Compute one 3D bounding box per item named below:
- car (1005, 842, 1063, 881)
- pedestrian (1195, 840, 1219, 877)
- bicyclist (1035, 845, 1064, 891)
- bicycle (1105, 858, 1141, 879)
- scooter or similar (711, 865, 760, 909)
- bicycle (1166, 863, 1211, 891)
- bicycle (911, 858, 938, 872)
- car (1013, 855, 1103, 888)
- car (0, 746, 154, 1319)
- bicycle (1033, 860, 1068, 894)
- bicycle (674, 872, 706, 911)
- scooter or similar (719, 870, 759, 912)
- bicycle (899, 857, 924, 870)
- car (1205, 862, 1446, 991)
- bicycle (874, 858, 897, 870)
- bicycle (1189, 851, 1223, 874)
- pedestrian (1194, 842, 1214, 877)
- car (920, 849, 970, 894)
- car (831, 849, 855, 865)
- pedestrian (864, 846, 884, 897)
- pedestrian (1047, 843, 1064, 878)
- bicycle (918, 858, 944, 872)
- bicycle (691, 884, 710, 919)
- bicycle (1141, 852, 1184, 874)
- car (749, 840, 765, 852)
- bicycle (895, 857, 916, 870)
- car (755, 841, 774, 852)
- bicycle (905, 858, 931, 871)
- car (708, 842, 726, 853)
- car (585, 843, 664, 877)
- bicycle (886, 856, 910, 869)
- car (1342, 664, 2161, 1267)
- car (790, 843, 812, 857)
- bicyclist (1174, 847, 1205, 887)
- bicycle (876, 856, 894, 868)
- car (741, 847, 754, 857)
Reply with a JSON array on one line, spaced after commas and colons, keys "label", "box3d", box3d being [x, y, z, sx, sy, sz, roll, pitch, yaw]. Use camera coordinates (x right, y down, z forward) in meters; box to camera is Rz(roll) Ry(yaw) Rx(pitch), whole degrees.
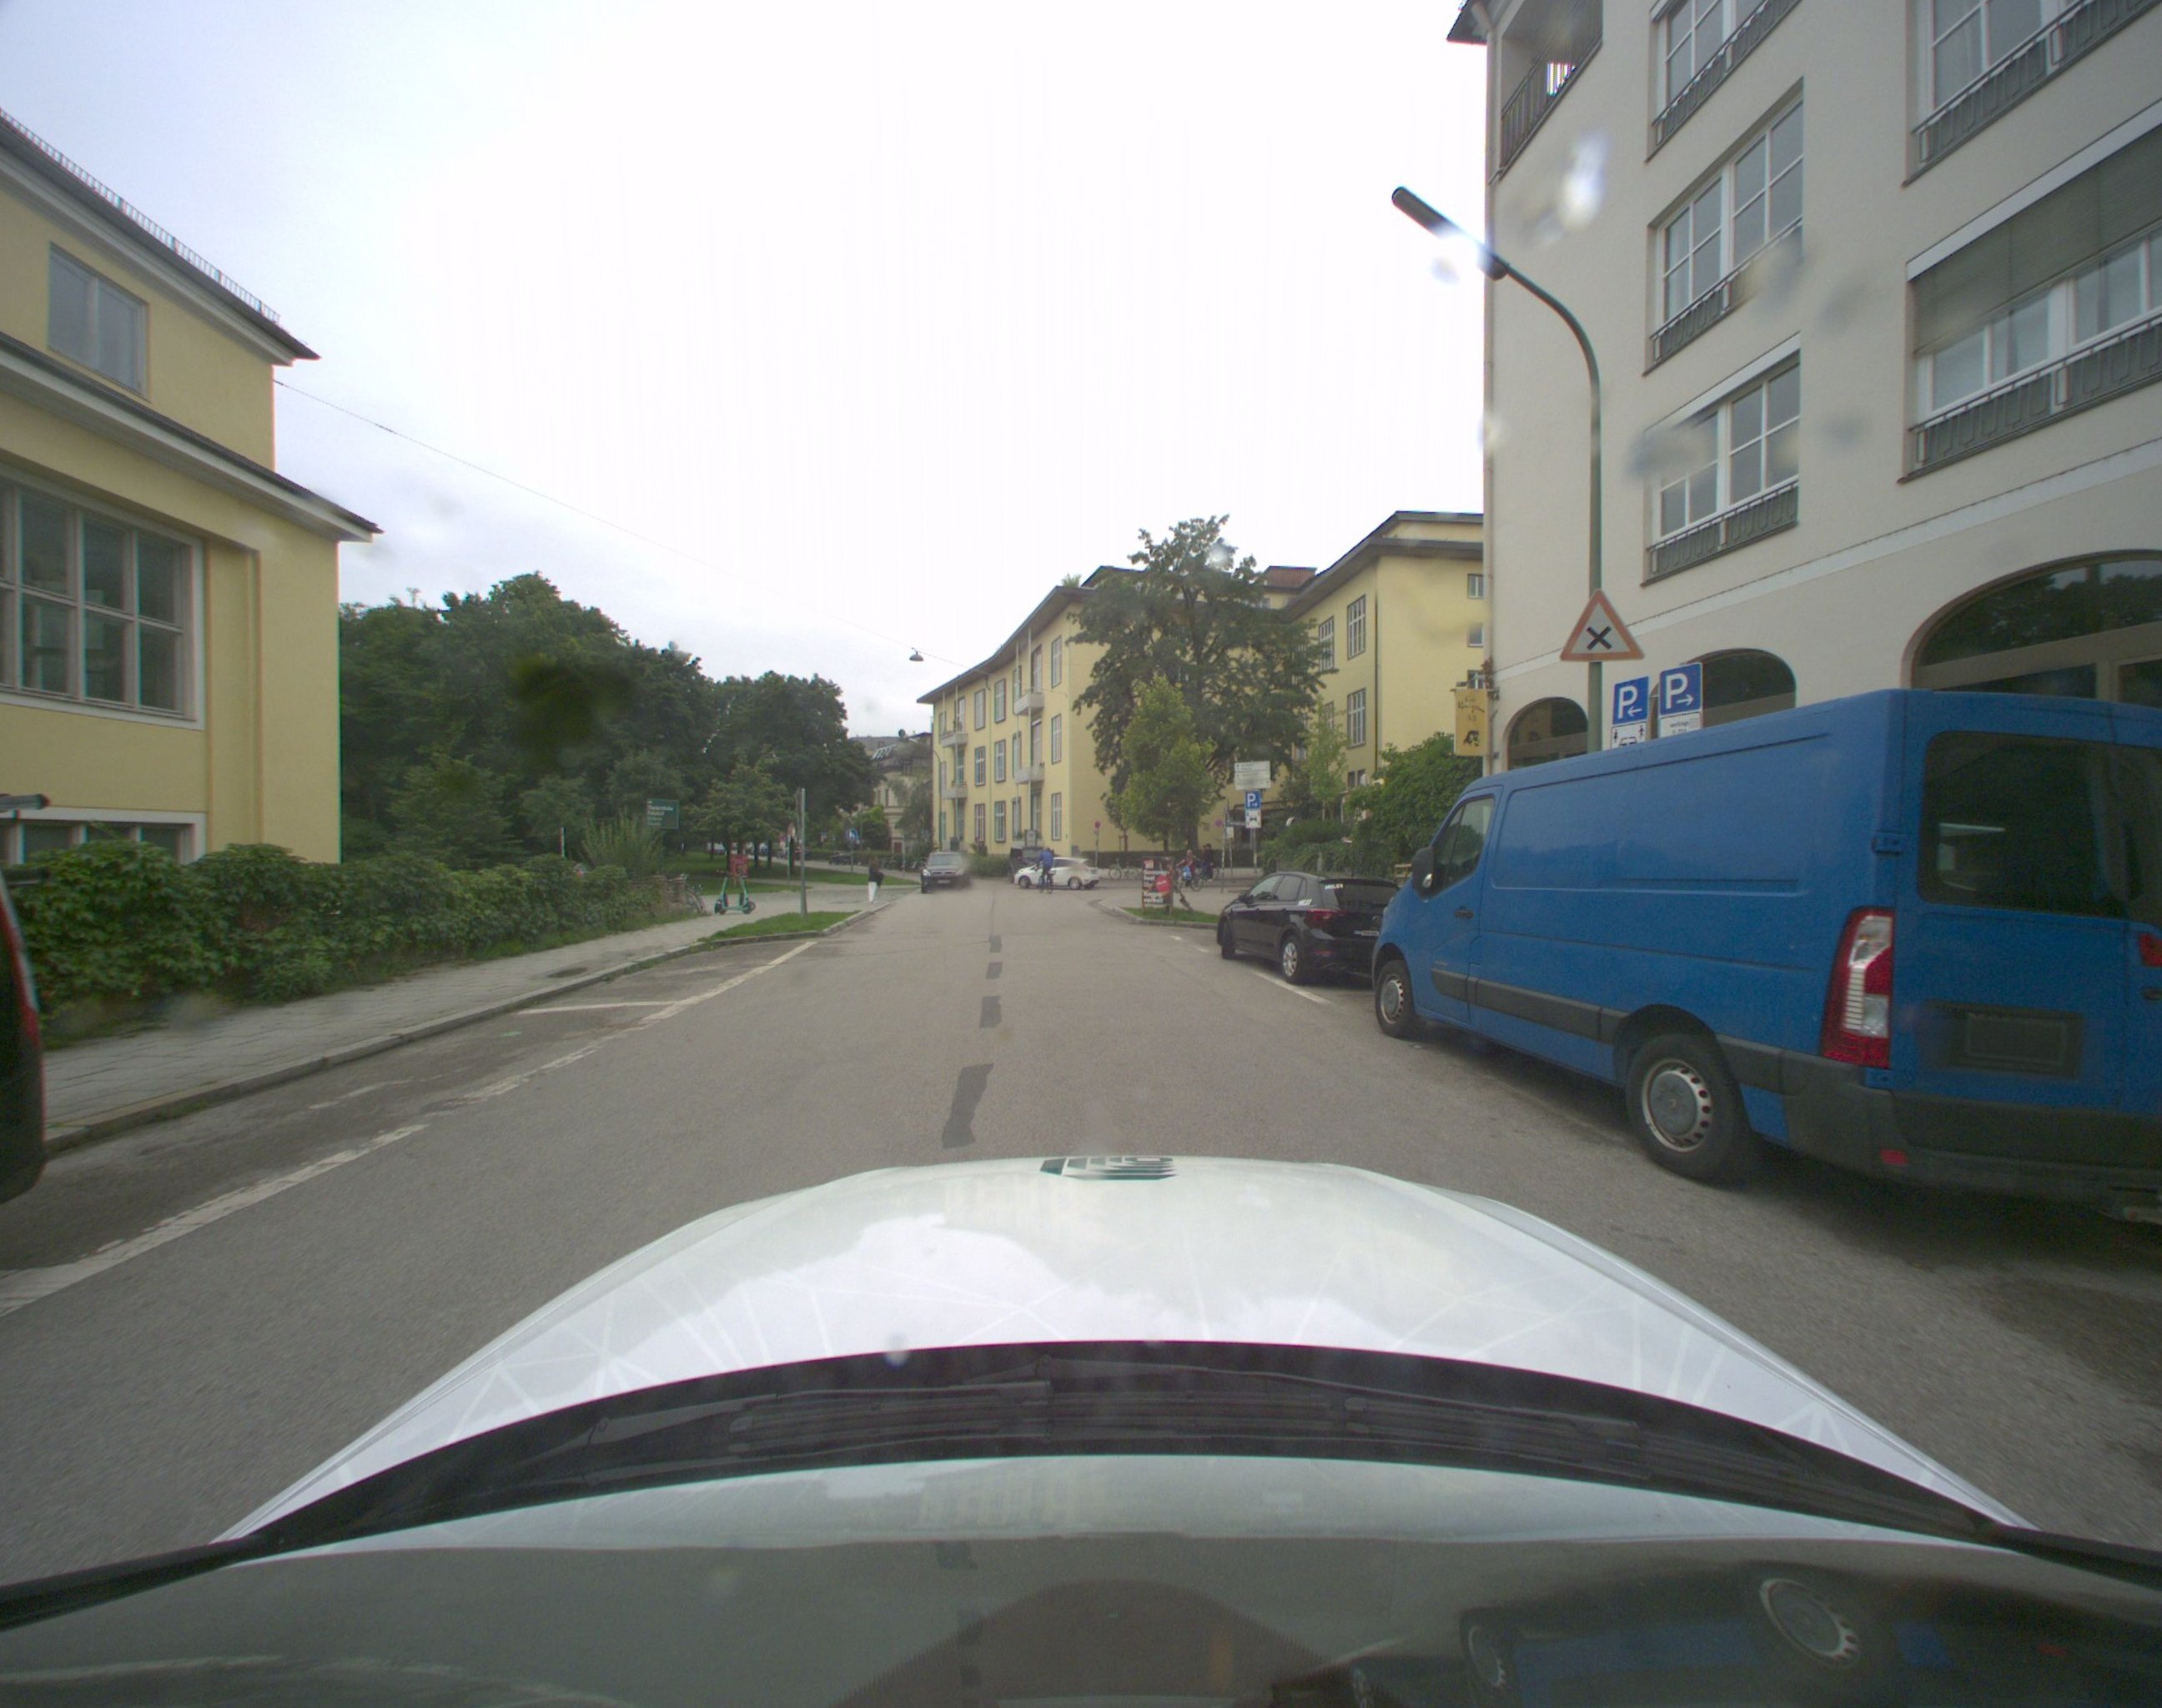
[{"label": "car", "box3d": [-2.523, 0.347, 42.546, 1.879, 1.887, 4.589, -1, 1, -19]}, {"label": "pedestrian", "box3d": [6.185, 0.214, 39.958, 0.988, 1.809, 0.658, -1, 1, -7]}, {"label": "bicyclist", "box3d": [-1.249, 0.525, 32.470, 0.915, 1.764, 1.209, -1, 1, -15]}, {"label": "bicycle", "box3d": [2.230, 0.776, 43.207, 1.925, 1.084, 0.532, -2, -1, 37]}, {"label": "scooter or similar", "box3d": [-9.842, 0.931, 23.196, 1.254, 1.244, 0.395, -1, -1, 5]}, {"label": "bicycle", "box3d": [4.513, 0.946, 34.094, 0.868, 1.019, 2.205, 0, 1, 37]}, {"label": "bicycle", "box3d": [-12.146, 0.825, 63.286, 1.989, 1.028, 0.611, -1, 0, -43]}, {"label": "car", "box3d": [-1.038, 0.757, 36.875, 3.682, 1.406, 1.763, 0, 1, 22]}, {"label": "car", "box3d": [-4.630, 0.701, 0.888, 1.921, 1.979, 4.618, -3, 1, -3]}, {"label": "bicycle", "box3d": [-1.234, 0.892, 32.416, 0.922, 1.252, 2.310, -1, 1, -15]}, {"label": "bicycle", "box3d": [-11.466, 1.097, 23.854, 1.176, 1.111, 0.303, -1, -1, 35]}, {"label": "scooter or similar", "box3d": [-10.033, 1.072, 23.923, 0.434, 1.212, 1.059, -1, -1, 26]}, {"label": "bicycle", "box3d": [-13.567, 0.728, 65.186, 1.989, 1.028, 0.611, -1, 0, -43]}, {"label": "car", "box3d": [3.236, 0.894, 11.666, 1.714, 1.394, 3.988, 3, 0, -9]}, {"label": "bicycle", "box3d": [-17.258, 0.840, 71.925, 1.989, 1.028, 0.611, -1, 0, -43]}, {"label": "bicycle", "box3d": [6.416, 0.425, 41.927, 1.680, 1.130, 0.459, -1, 1, -7]}, {"label": "pedestrian", "box3d": [6.161, 0.258, 40.896, 0.825, 1.746, 0.739, -1, 1, -7]}, {"label": "car", "box3d": [-5.873, 0.675, 35.087, 1.994, 1.719, 4.599, -1, 1, -10]}, {"label": "car", "box3d": [-24.745, 0.325, 84.635, 1.656, 1.558, 3.527, -1, 1, -28]}, {"label": "pedestrian", "box3d": [-6.991, 0.576, 27.462, 0.543, 1.696, 0.663, -2, 1, -17]}, {"label": "pedestrian", "box3d": [-1.327, 0.335, 42.670, 0.847, 1.757, 0.952, -1, 1, -4]}, {"label": "bicycle", "box3d": [-11.548, 0.813, 62.685, 1.989, 1.028, 0.611, -1, 0, -43]}, {"label": "bicycle", "box3d": [-10.544, 1.301, 22.572, 0.435, 0.893, 1.319, -1, -1, -24]}, {"label": "bicycle", "box3d": [4.211, 0.451, 42.172, 2.154, 1.115, 0.642, 0, 1, 10]}, {"label": "car", "box3d": [-52.785, -1.302, 132.619, 2.077, 1.966, 4.933, -1, 1, -27]}, {"label": "bicycle", "box3d": [-14.328, 0.781, 66.583, 0.527, 1.028, 1.990, 0, 0, 27]}, {"label": "car", "box3d": [-48.377, -1.095, 124.302, 2.007, 1.600, 4.213, -1, 1, -31]}, {"label": "bicycle", "box3d": [-12.807, 0.827, 64.163, 1.989, 1.028, 0.611, -1, 0, -43]}, {"label": "car", "box3d": [-54.072, -0.955, 120.811, 2.006, 1.600, 4.425, -1, 1, -30]}, {"label": "car", "box3d": [-29.111, 0.375, 52.043, 1.765, 2.013, 4.024, -1, 1, 26]}, {"label": "bicycle", "box3d": [-15.817, 0.731, 70.376, 1.989, 1.028, 0.611, -1, 0, -43]}, {"label": "car", "box3d": [3.851, 0.503, 5.639, 2.105, 2.214, 5.021, 4, -1, -3]}, {"label": "car", "box3d": [-34.856, -0.483, 101.414, 1.805, 1.679, 3.961, -1, 1, -31]}, {"label": "bicyclist", "box3d": [4.538, 0.519, 34.101, 0.867, 1.609, 1.056, 0, 1, 36]}, {"label": "bicycle", "box3d": [-17.289, 0.674, 72.005, 0.404, 1.014, 1.547, 0, 2, 44]}, {"label": "car", "box3d": [-58.268, -0.336, 142.370, 1.738, 1.702, 3.963, -1, 1, -28]}]
